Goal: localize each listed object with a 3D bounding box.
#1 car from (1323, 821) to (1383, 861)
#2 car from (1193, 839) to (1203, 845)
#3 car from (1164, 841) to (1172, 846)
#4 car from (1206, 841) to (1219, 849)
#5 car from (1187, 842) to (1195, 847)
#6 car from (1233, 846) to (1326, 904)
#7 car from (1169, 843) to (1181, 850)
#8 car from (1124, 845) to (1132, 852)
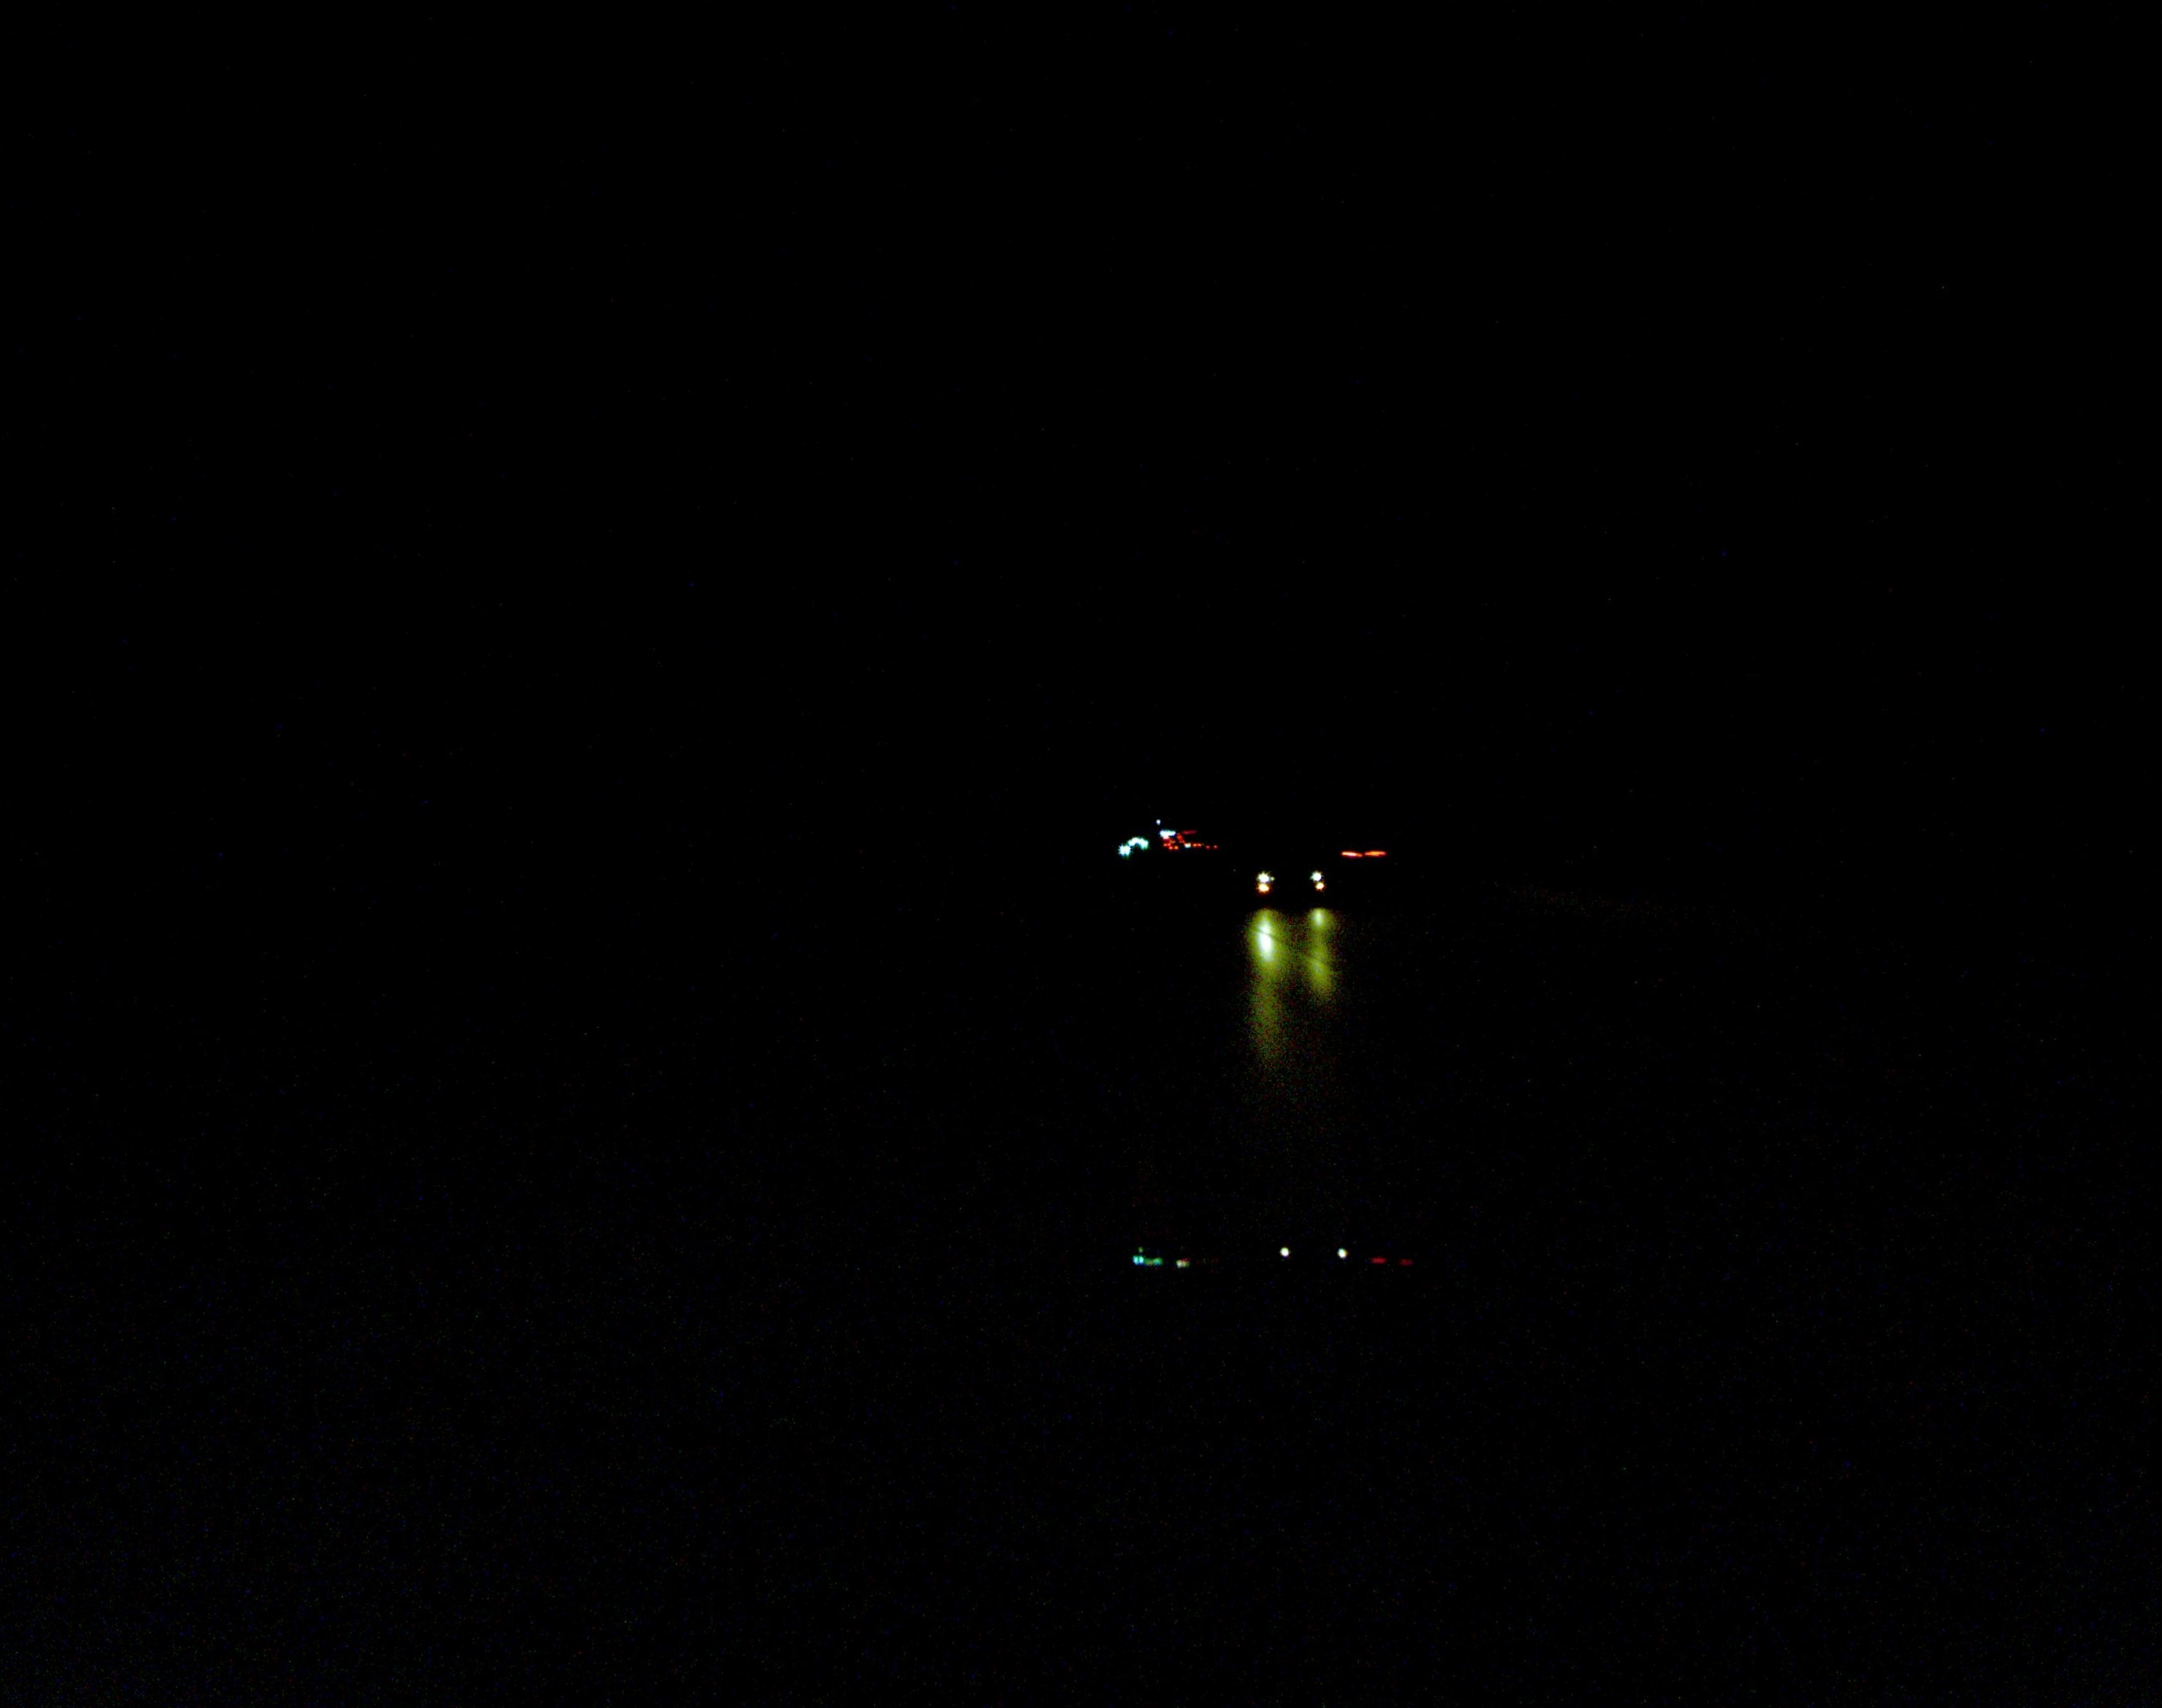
[{"bbox_3d":[23.225,-1.043,65.236,2.657,3.067,8.217,-2,0,4],"label":"car"},{"bbox_3d":[33.958,-3.425,220.383,2.123,1.547,5.109,-2,1,3],"label":"car"},{"bbox_3d":[28.388,-3.302,247.164,2.123,1.547,5.109,-2,1,3],"label":"car"},{"bbox_3d":[29.122,-1.989,168.267,2.058,1.771,5.941,-2,1,3],"label":"car"},{"bbox_3d":[37.038,-3.075,255.325,2.188,1.472,5.242,-3,1,4],"label":"car"},{"bbox_3d":[5.900,0.608,23.275,1.997,1.509,5.654,-2,-1,8],"label":"car"},{"bbox_3d":[23.619,-1.879,191.398,2.565,1.547,5.109,-2,1,3],"label":"car"},{"bbox_3d":[13.344,-1.602,217.004,1.998,1.653,3.999,-2,2,2],"label":"car"}]
